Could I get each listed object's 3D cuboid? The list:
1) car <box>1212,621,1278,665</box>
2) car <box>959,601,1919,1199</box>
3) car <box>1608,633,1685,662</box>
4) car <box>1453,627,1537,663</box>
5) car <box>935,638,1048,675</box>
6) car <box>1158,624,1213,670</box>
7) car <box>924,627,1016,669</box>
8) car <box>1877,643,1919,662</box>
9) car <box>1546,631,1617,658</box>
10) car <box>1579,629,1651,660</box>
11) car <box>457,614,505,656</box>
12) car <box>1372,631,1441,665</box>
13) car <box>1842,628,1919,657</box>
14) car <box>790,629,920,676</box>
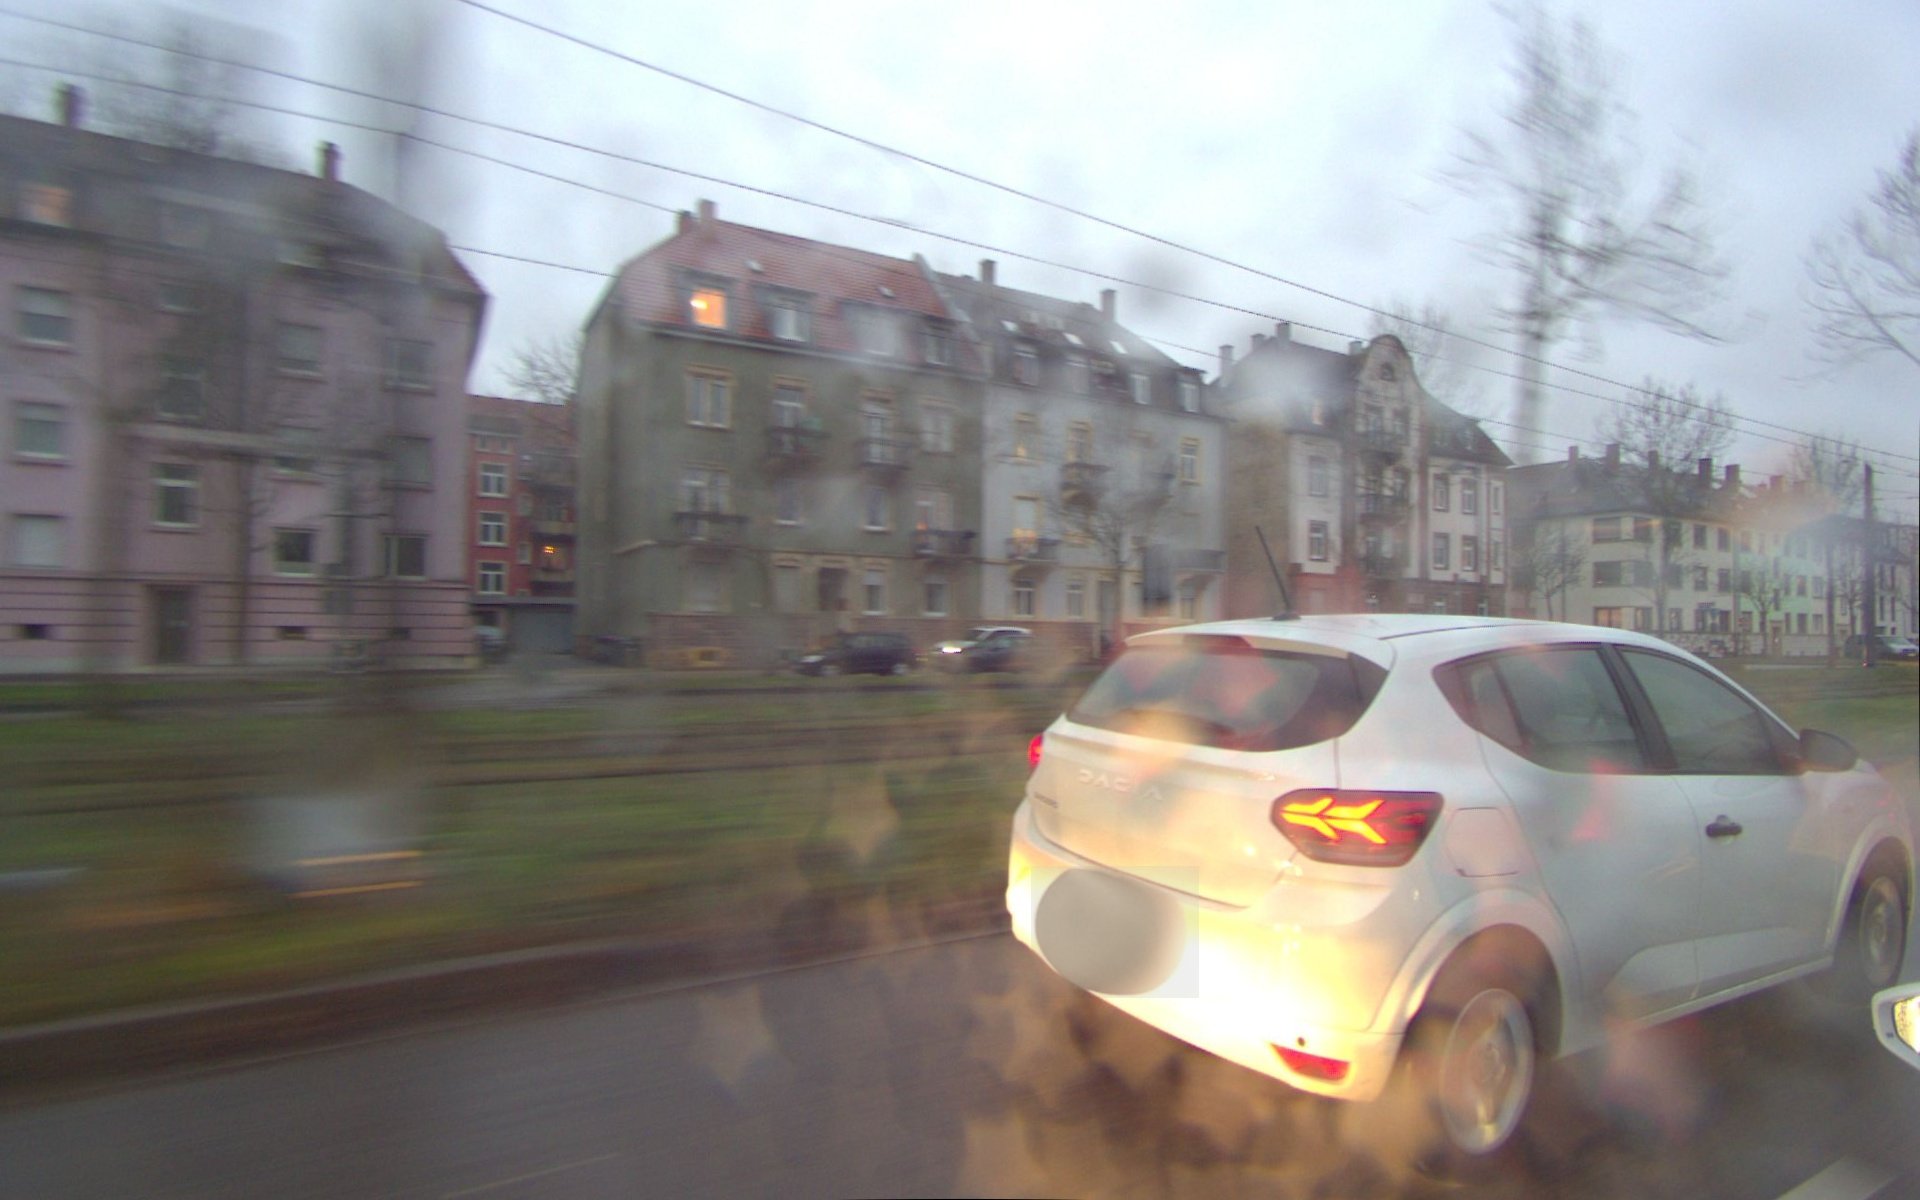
[{"bbox_3d":[10.852,1.593,38.502,1.660,1.451,4.666,2,0,7],"label":"car"},{"bbox_3d":[2.129,0.814,3.957,3.954,1.494,1.680,2,0,-31],"label":"car"},{"bbox_3d":[36.256,2.462,53.163,1.677,1.176,4.107,4,1,9],"label":"car"},{"bbox_3d":[24.549,2.035,46.201,1.842,1.437,3.361,3,0,-4],"label":"car"},{"bbox_3d":[1.114,1.916,34.356,3.860,1.184,1.222,2,0,-34],"label":"car"},{"bbox_3d":[8.229,1.691,36.957,1.783,1.467,3.954,2,0,10],"label":"car"},{"bbox_3d":[0.398,1.898,39.564,3.230,1.550,1.603,2,0,-30],"label":"car"},{"bbox_3d":[67.299,3.740,71.020,1.702,1.156,3.573,2,0,3],"label":"car"},{"bbox_3d":[30.335,2.154,49.114,1.759,1.003,2.920,3,1,5],"label":"car"},{"bbox_3d":[33.284,2.242,51.179,1.321,1.247,4.046,3,1,6],"label":"car"},{"bbox_3d":[-19.471,1.406,40.794,1.591,1.564,3.340,2,0,-28],"label":"car"},{"bbox_3d":[19.597,2.080,44.247,1.796,1.274,4.269,2,0,11],"label":"car"},{"bbox_3d":[63.872,2.906,69.479,1.796,1.746,4.661,2,0,4],"label":"car"},{"bbox_3d":[-3.334,1.667,32.055,3.861,1.357,1.459,2,0,-28],"label":"car"}]
